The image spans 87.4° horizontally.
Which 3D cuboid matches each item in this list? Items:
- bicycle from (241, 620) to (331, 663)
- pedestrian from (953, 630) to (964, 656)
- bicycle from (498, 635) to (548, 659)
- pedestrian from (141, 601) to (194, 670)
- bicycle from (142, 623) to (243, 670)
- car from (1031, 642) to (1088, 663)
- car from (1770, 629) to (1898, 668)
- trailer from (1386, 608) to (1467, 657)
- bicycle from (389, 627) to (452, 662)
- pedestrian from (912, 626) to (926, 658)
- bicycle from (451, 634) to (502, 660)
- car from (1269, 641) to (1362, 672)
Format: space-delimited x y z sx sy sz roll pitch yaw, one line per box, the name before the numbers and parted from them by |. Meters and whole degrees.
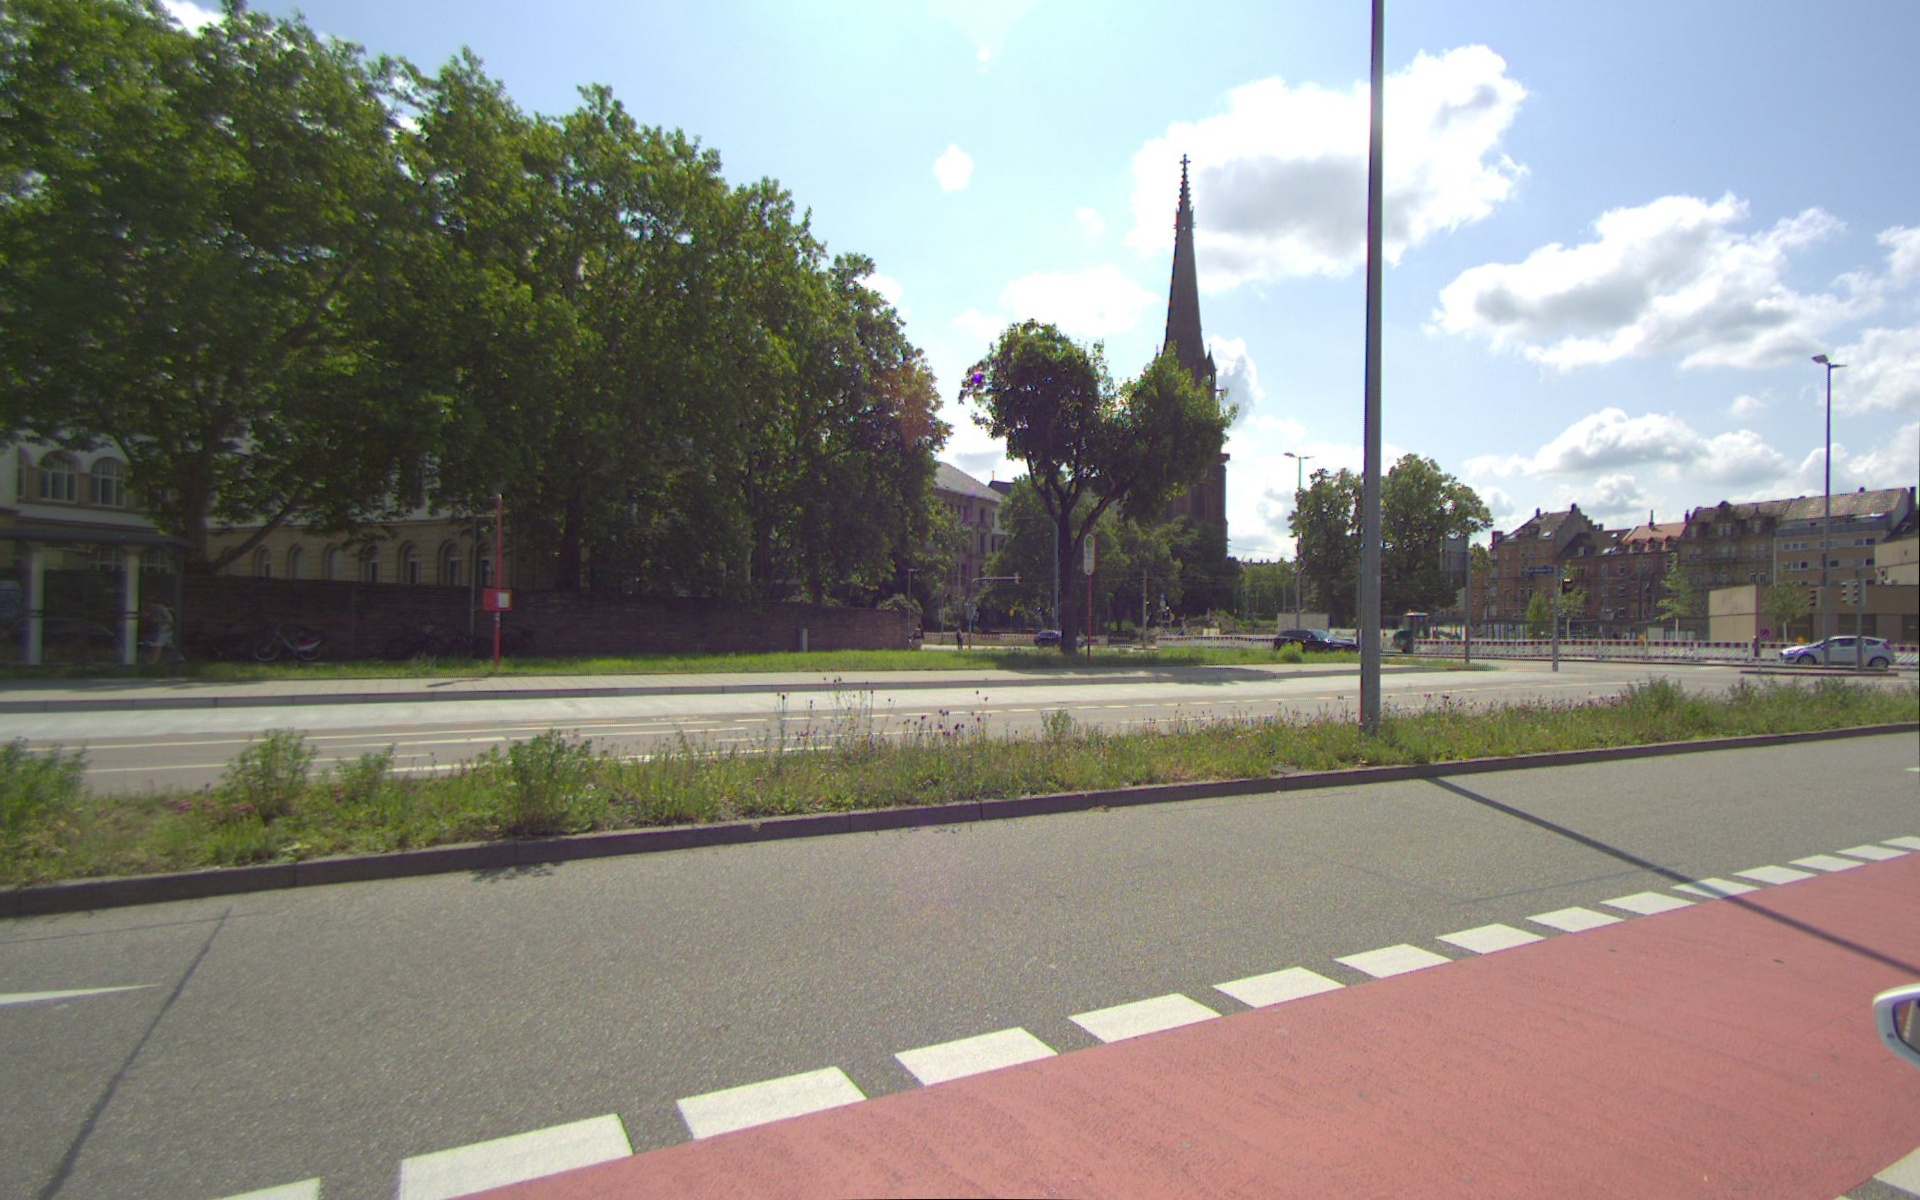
bicycle | -18.535 1.143 27.653 0.391 1.152 2.032 0 -2 36
pedestrian | -0.099 3.113 73.304 0.561 1.844 0.436 2 0 43
bicycle | -14.557 1.561 33.503 0.391 0.799 1.540 0 -2 33
pedestrian | -19.285 0.852 24.445 0.710 1.632 0.779 0 -1 31
bicycle | -19.752 1.186 25.905 0.391 1.152 2.032 0 -2 36
car | 7.791 4.083 78.899 1.979 1.505 4.625 2 -2 -34
car | 39.264 2.153 45.256 3.943 1.528 1.997 2 0 28
trailer | 30.125 2.099 64.950 4.277 2.952 2.001 2 0 7
bicycle | -16.421 1.349 30.626 0.391 1.043 1.683 0 -1 33
pedestrian | -2.216 2.273 54.851 0.479 1.718 0.679 2 0 22
bicycle | -15.445 1.492 32.137 0.391 0.799 1.462 0 -2 33
car | 18.820 2.950 53.354 1.976 1.505 4.475 1 -2 -30
